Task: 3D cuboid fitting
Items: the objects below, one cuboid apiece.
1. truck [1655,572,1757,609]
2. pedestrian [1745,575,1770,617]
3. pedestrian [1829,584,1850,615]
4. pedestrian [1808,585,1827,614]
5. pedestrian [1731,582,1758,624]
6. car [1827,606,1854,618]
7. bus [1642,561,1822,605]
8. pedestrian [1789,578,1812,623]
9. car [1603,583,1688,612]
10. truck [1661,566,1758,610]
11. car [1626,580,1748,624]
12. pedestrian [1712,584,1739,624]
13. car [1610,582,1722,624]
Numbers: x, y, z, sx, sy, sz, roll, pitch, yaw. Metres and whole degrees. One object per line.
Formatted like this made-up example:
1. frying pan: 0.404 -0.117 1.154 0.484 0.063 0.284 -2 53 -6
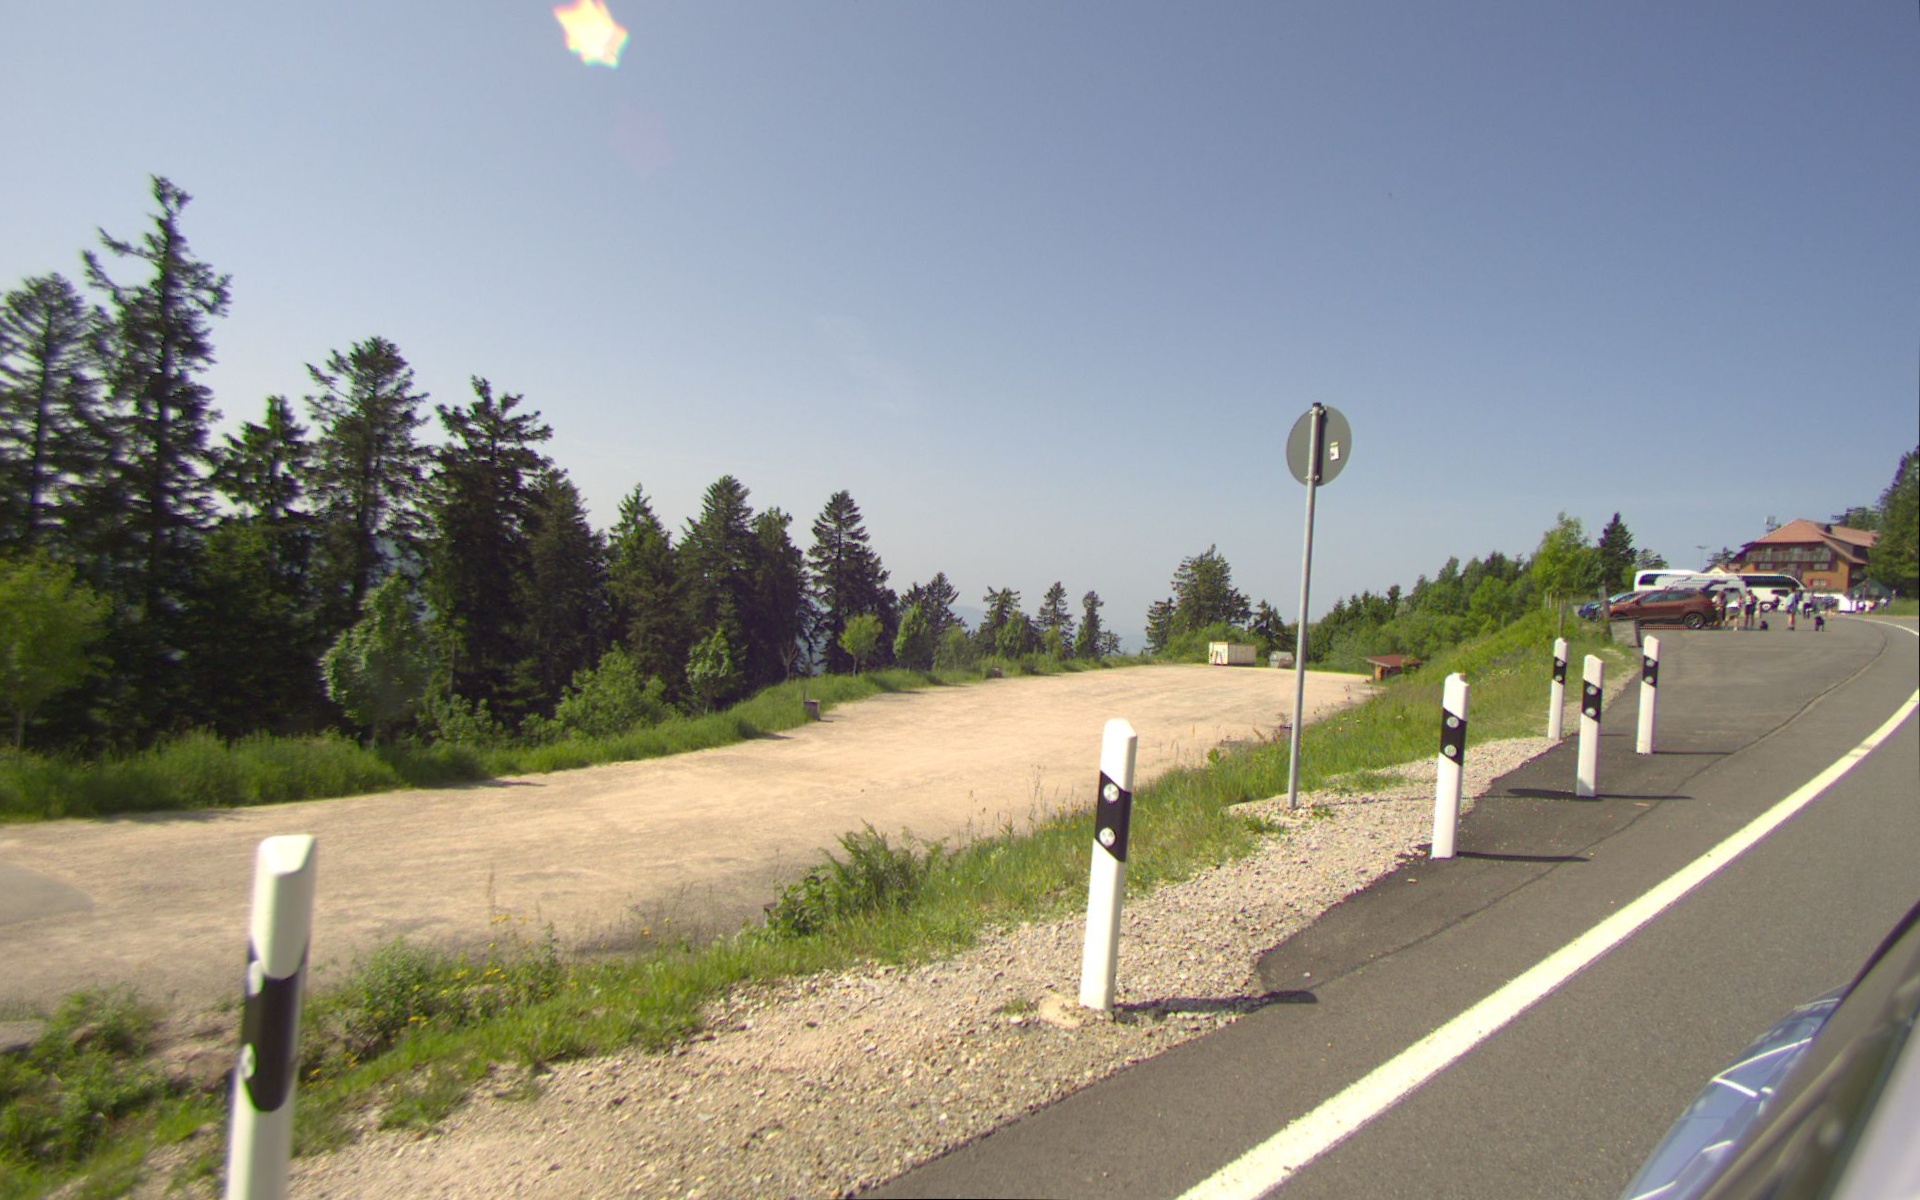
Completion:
1. truck: 58.219 -0.738 79.087 6.250 2.623 2.307 3 1 39
2. pedestrian: 33.148 -0.161 42.065 0.609 1.713 0.716 0 1 -45
3. pedestrian: 52.252 -0.040 60.124 0.761 1.782 0.756 1 1 -38
4. pedestrian: 51.524 -0.032 60.806 0.878 1.763 0.666 1 1 -38
5. pedestrian: 31.966 0.132 41.250 0.675 1.681 0.654 3 1 -39
6. car: 127.679 1.692 146.773 3.069 1.572 1.719 2 1 -23
7. bus: 70.538 -1.602 92.907 12.828 3.622 2.799 3 1 39
8. pedestrian: 34.003 0.006 40.920 0.712 1.797 0.617 0 1 -45
9. car: 39.487 -0.132 58.377 3.974 1.668 1.580 -1 0 35
10. truck: 60.370 -0.971 81.679 6.048 3.235 2.500 4 2 36
11. car: 32.743 0.026 45.636 4.265 1.816 1.863 2 3 44
12. pedestrian: 32.265 0.167 42.671 0.721 1.607 0.619 3 1 -32
13. car: 29.784 0.113 42.818 3.803 1.682 1.633 0 0 34
